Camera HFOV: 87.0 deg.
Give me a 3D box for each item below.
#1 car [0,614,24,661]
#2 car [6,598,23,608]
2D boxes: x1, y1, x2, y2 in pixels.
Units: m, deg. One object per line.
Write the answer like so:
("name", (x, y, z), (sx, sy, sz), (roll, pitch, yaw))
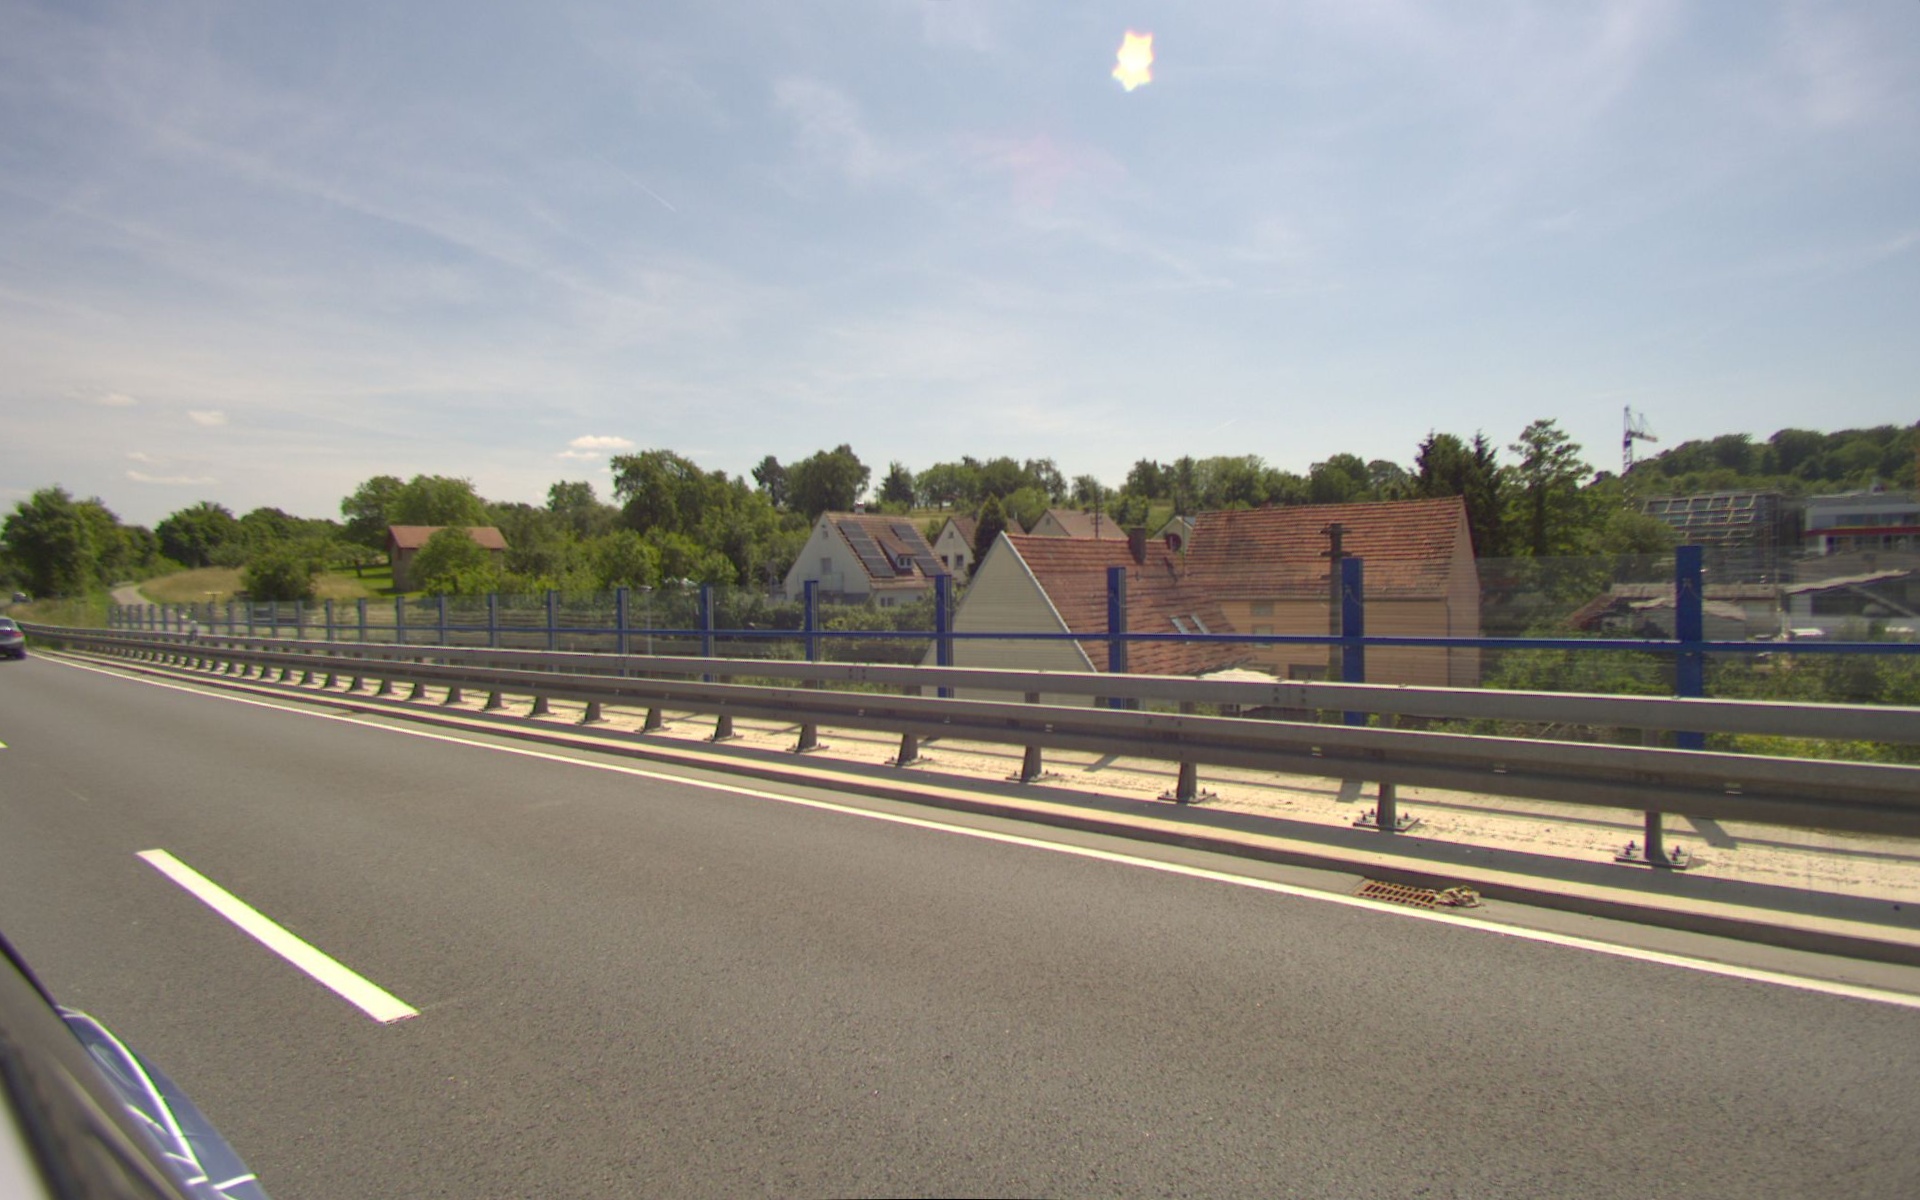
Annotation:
("car", (-32.209, 1.209, 33.227), (4.833, 1.446, 1.762), (-1, -1, 42))
("car", (-140.169, 0.499, 150.018), (1.625, 1.452, 4.165), (1, -1, -40))
